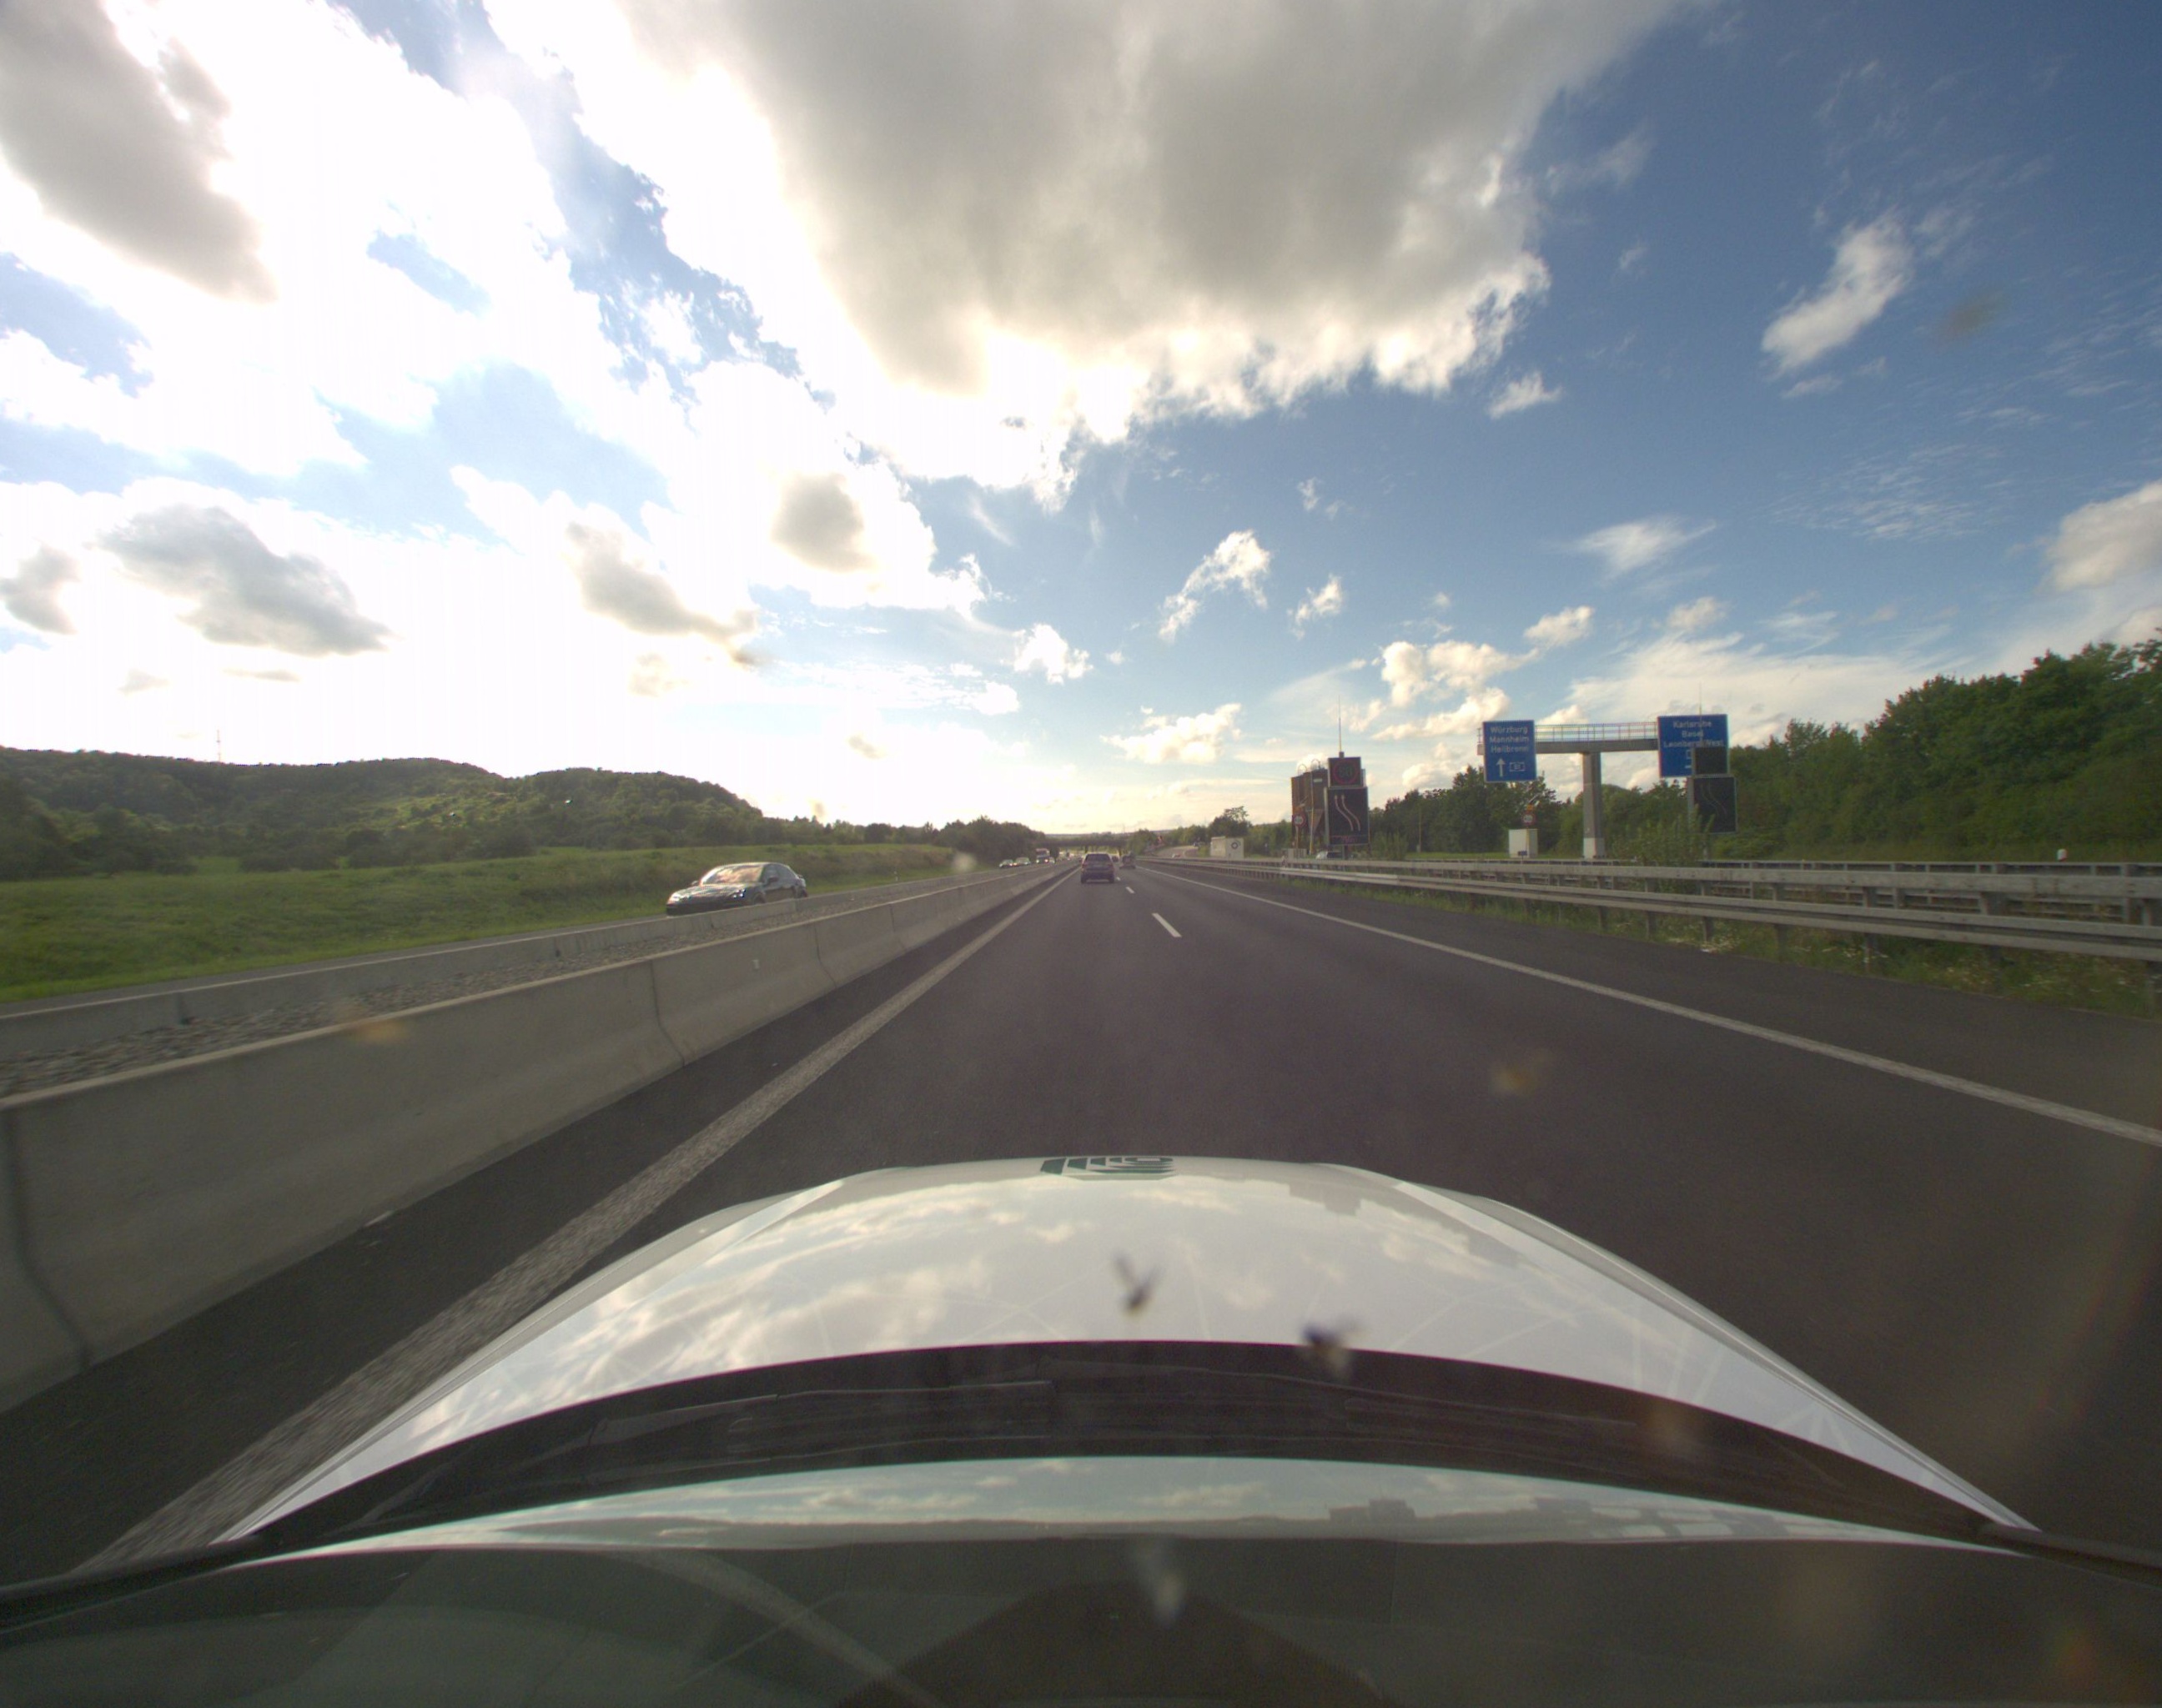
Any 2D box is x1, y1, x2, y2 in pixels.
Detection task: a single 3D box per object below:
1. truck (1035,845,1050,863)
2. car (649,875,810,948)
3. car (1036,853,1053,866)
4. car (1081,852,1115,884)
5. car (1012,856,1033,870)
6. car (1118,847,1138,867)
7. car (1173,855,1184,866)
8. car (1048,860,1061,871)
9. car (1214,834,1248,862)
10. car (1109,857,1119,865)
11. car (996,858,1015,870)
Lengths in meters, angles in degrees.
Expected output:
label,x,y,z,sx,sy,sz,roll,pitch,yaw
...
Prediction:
label,x,y,z,sx,sy,sz,roll,pitch,yaw
truck,-9.235,0.017,196.998,2.727,3.924,6.904,-3,0,2
car,-8.394,1.310,19.969,1.781,1.398,4.624,-3,0,1
car,-5.783,0.848,129.540,1.986,2.013,5.843,-3,0,2
car,0.983,0.759,45.956,1.743,1.630,3.611,-3,0,2
car,-7.350,1.148,102.699,1.986,1.573,5.367,-3,0,2
car,5.273,0.304,91.649,1.986,2.081,4.001,-3,0,1
car,19.100,1.207,159.247,1.984,2.013,4.006,-3,0,5
car,-5.130,2.162,157.622,1.986,2.013,4.679,-2,0,2
car,21.461,-0.776,116.857,3.564,3.676,7.550,-3,0,1
car,7.567,1.585,185.999,1.968,1.779,4.121,-3,0,1
car,-10.843,1.432,117.053,1.986,1.478,4.694,-3,0,2
